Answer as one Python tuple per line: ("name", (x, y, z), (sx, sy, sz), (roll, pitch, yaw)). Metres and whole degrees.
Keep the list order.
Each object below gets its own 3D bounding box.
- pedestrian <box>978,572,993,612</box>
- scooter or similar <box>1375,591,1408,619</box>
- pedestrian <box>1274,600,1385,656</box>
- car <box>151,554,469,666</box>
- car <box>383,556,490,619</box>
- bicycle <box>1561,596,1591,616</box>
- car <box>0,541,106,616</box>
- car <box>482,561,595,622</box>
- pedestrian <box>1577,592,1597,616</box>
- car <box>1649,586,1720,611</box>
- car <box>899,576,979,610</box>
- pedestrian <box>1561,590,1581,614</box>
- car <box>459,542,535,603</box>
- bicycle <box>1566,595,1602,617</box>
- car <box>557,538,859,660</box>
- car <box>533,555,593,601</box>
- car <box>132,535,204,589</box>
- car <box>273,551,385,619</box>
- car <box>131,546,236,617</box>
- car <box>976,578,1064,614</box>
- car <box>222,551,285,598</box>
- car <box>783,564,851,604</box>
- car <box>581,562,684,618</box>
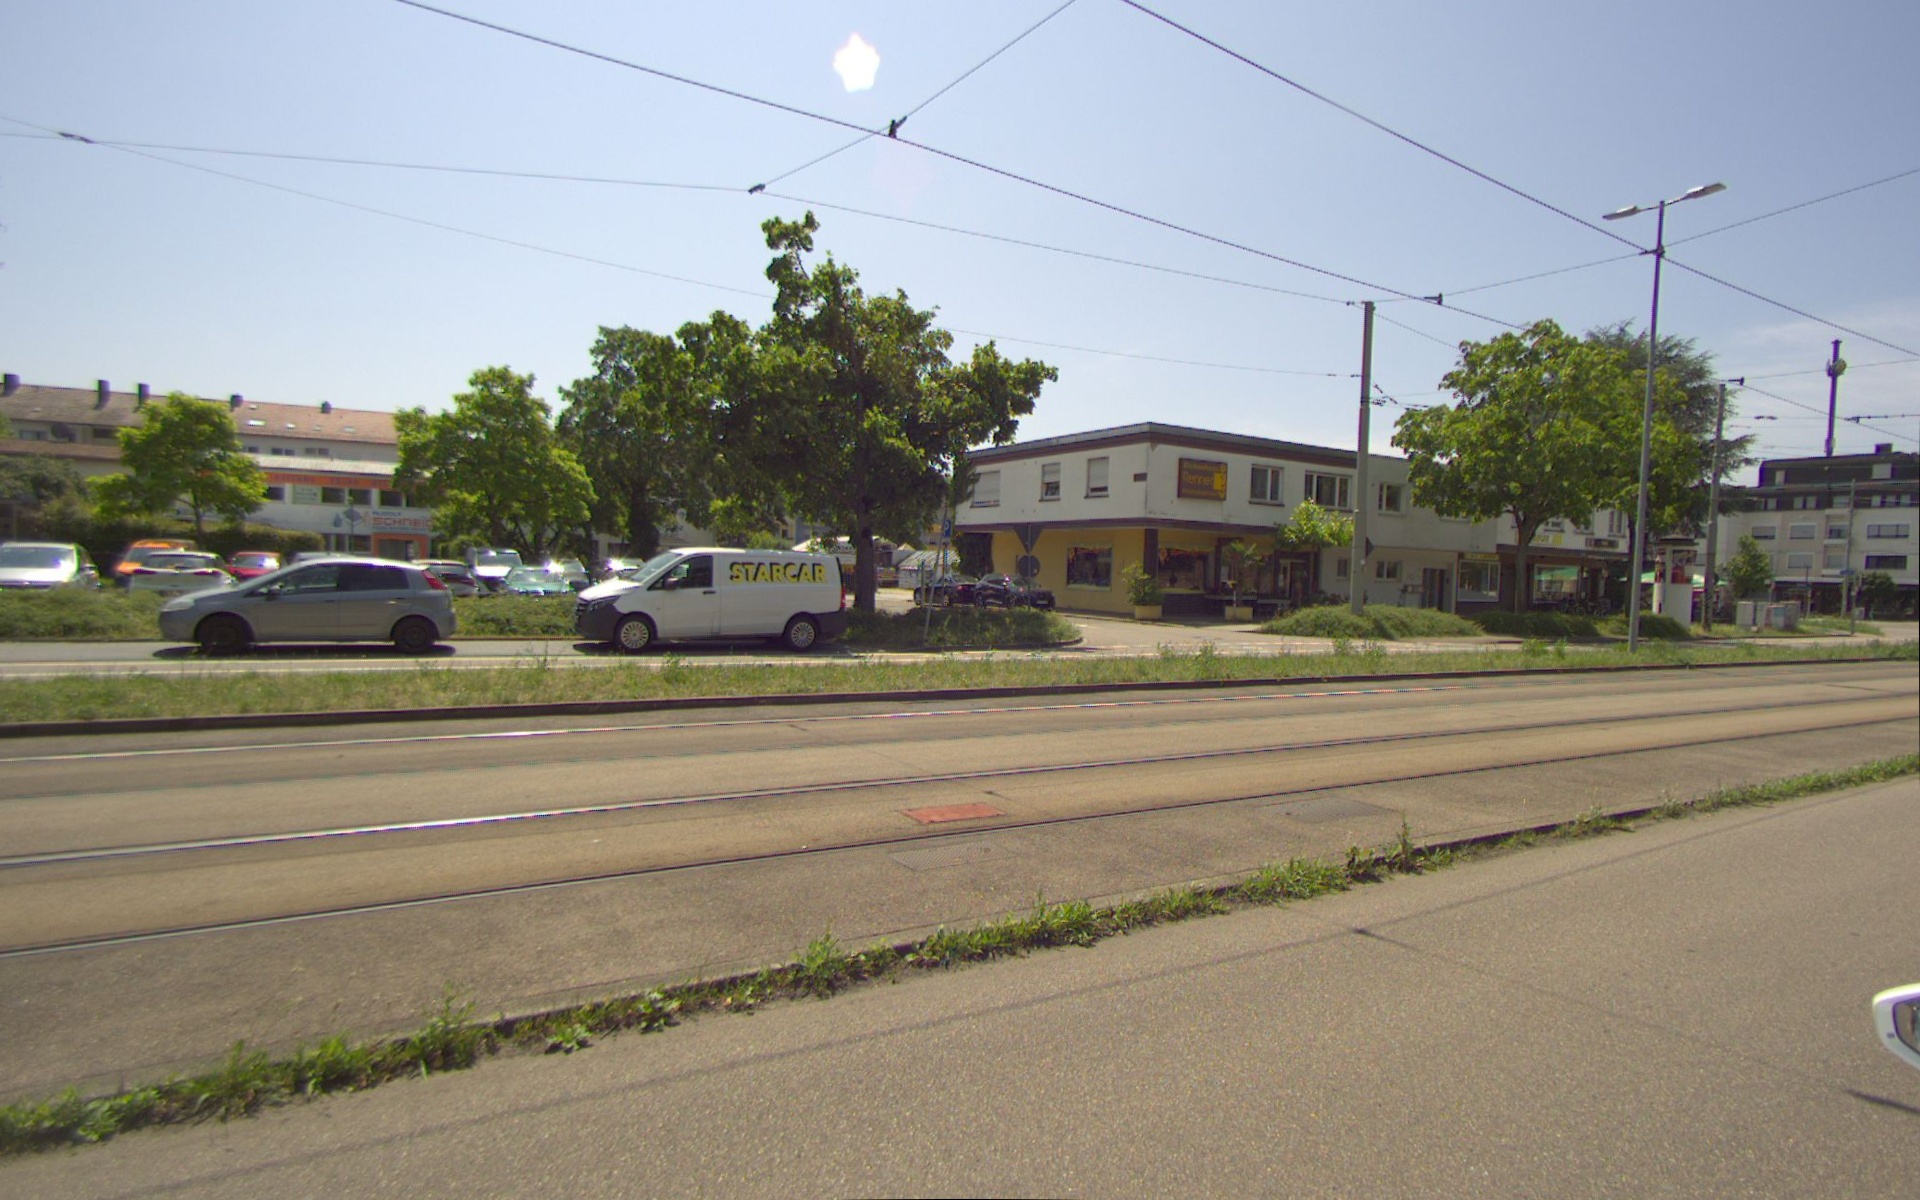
("pedestrian", (1.182, -0.365, 46.679), (0.466, 1.823, 0.484), (1, 0, -31))
("scooter or similar", (19.415, 0.225, 45.178), (1.321, 1.207, 0.455), (2, 0, -11))
("pedestrian", (14.306, 1.087, 38.860), (3.955, 2.040, 1.983), (2, 0, -31))
("car", (-10.187, 0.152, 16.085), (4.077, 1.523, 1.641), (1, 4, -30))
("car", (-13.820, -0.327, 26.418), (1.843, 1.509, 4.103), (1, 0, -37))
("bicycle", (30.712, 0.303, 50.062), (1.739, 0.992, 0.536), (2, 0, -31))
("car", (-20.114, -0.501, 22.032), (1.850, 1.508, 3.957), (1, 2, -37))
("car", (-11.493, -0.232, 27.246), (1.895, 1.509, 3.998), (1, 0, -37))
("pedestrian", (33.499, 0.210, 53.641), (0.832, 1.285, 0.586), (1, 0, -31))
("car", (69.338, -0.163, 96.265), (2.219, 2.372, 5.037), (1, 0, -31))
("car", (-0.994, -0.331, 45.526), (1.975, 1.440, 4.114), (1, 0, -28))
("pedestrian", (32.991, 0.099, 54.216), (0.832, 1.285, 0.586), (1, 0, -31))
("car", (-17.804, -1.012, 38.478), (2.200, 2.097, 5.083), (1, 0, -30))
("bicycle", (29.888, 0.275, 48.084), (2.006, 0.992, 0.607), (2, 0, -31))
("car", (-4.774, -0.015, 19.299), (5.281, 2.038, 1.866), (1, 4, -30))
("car", (-15.722, -0.828, 39.658), (1.781, 1.678, 3.971), (1, 0, -28))
("car", (-26.411, -1.235, 33.584), (1.676, 1.675, 4.088), (1, 1, -36))
("car", (-15.595, -0.391, 24.729), (2.005, 1.509, 4.119), (1, 2, -37))
("car", (-18.191, -0.456, 23.627), (1.815, 1.509, 4.033), (1, 2, -37))
("car", (2.340, -0.192, 40.067), (1.661, 1.314, 3.970), (0, 2, -28))
("car", (-24.742, -0.872, 35.193), (1.700, 1.514, 3.959), (1, 0, -36))
("car", (-6.464, -0.703, 45.056), (1.781, 1.678, 3.971), (1, 0, -28))
("car", (-9.598, -0.334, 29.263), (1.962, 1.509, 4.139), (1, 2, -31))
